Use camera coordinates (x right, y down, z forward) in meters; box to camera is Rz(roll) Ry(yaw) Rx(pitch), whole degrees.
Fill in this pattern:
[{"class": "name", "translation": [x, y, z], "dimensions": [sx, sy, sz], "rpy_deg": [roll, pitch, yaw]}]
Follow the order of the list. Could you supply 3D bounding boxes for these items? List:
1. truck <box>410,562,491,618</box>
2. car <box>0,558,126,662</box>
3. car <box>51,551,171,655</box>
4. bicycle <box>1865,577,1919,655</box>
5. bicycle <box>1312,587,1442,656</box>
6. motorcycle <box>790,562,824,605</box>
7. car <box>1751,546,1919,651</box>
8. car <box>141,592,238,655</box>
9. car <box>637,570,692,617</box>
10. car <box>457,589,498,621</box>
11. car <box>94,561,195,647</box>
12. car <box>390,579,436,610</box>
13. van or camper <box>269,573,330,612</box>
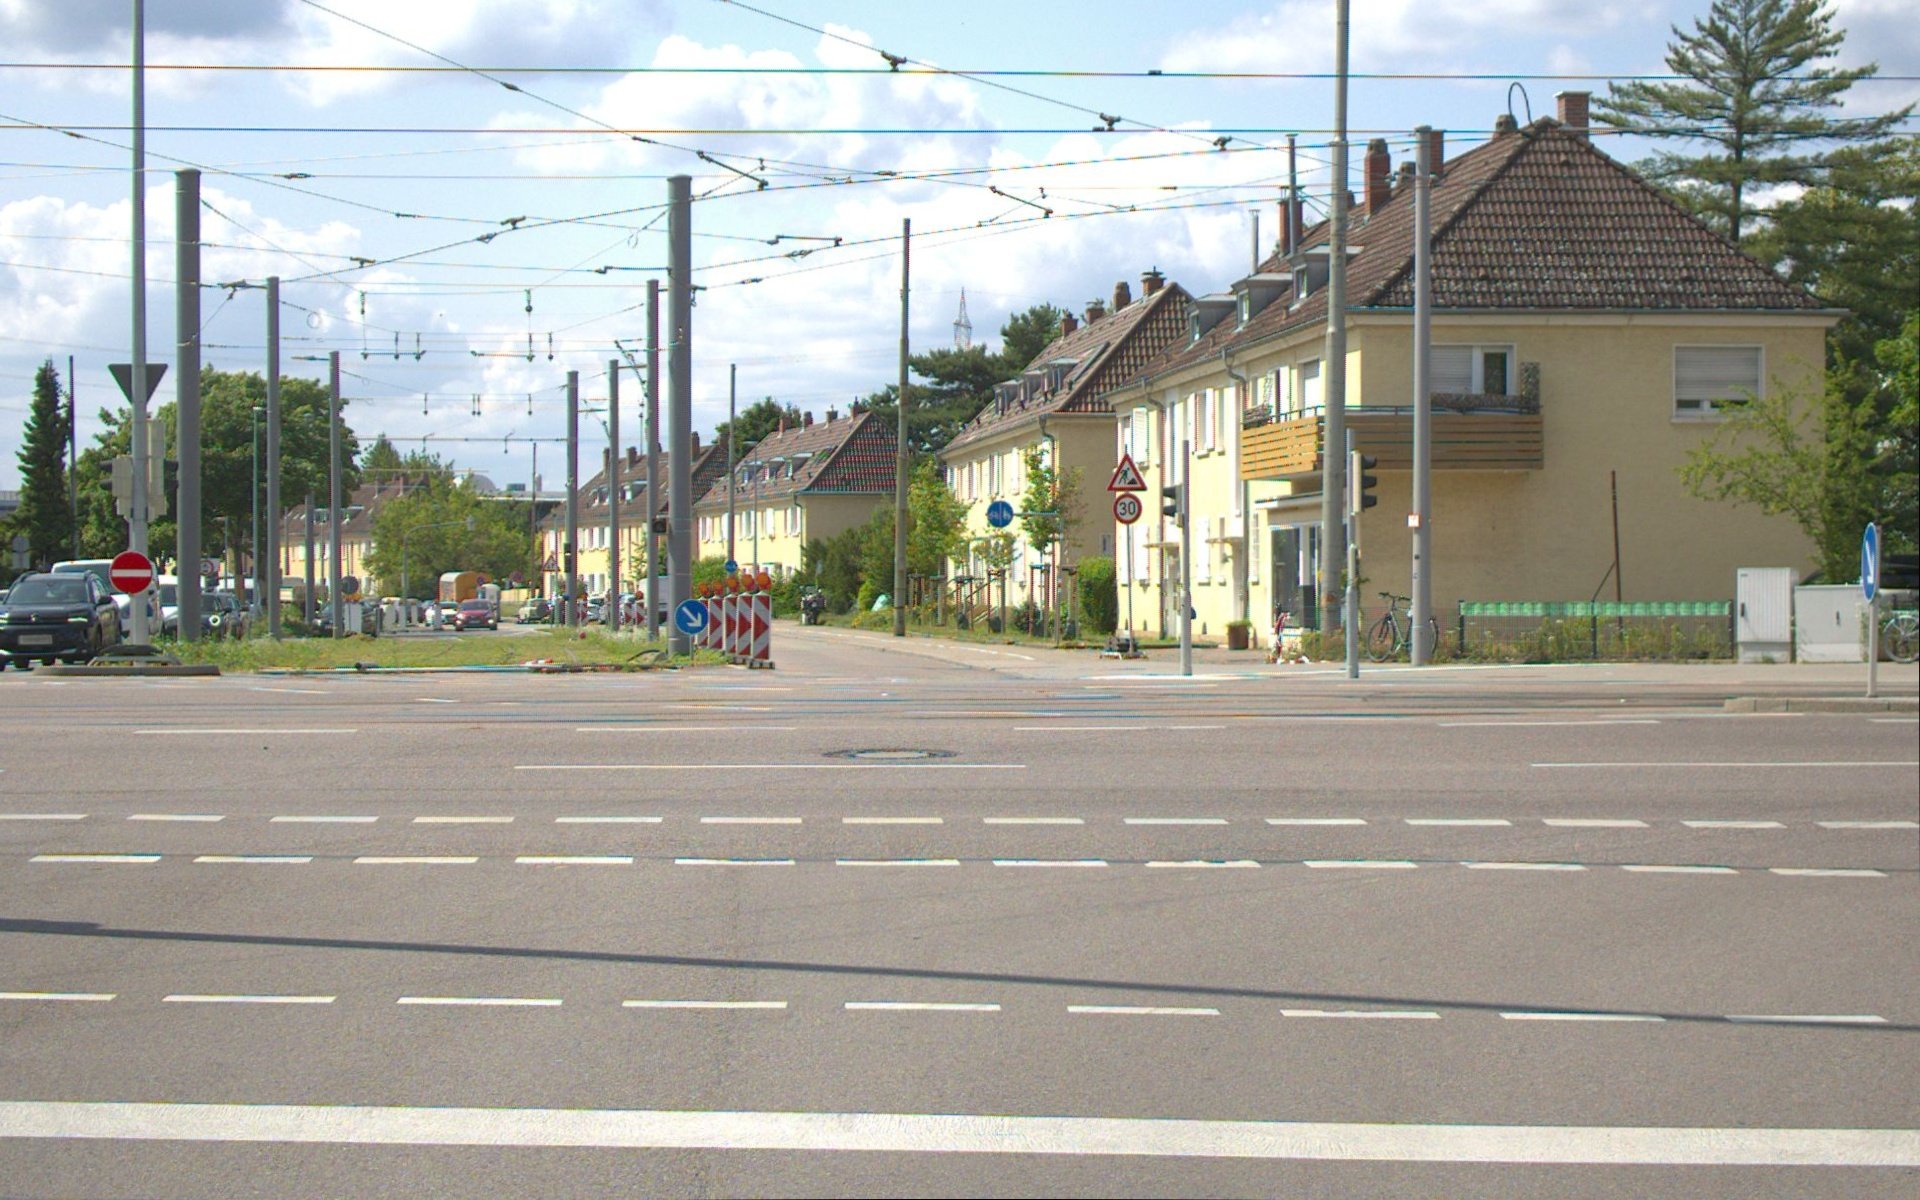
[{"class": "truck", "translation": [-32.313, -0.631, 217.545], "dimensions": [2.640, 3.482, 9.439], "rpy_deg": [0, 0, -24]}, {"class": "car", "translation": [-15.643, 0.137, 59.572], "dimensions": [1.786, 1.715, 4.442], "rpy_deg": [0, 1, -7]}, {"class": "car", "translation": [-16.253, 0.047, 65.988], "dimensions": [1.814, 1.915, 4.749], "rpy_deg": [0, 0, -9]}, {"class": "bicycle", "translation": [13.783, 0.226, 48.549], "dimensions": [1.806, 1.101, 0.701], "rpy_deg": [0, 0, 39]}, {"class": "bicycle", "translation": [6.742, 0.347, 55.711], "dimensions": [0.593, 1.093, 2.276], "rpy_deg": [0, 0, -41]}, {"class": "motorcycle", "translation": [-5.878, -0.622, 132.024], "dimensions": [1.066, 1.630, 2.084], "rpy_deg": [0, 0, -8]}, {"class": "car", "translation": [14.426, 0.007, 55.409], "dimensions": [1.821, 1.615, 4.001], "rpy_deg": [0, -1, -10]}, {"class": "car", "translation": [-18.074, 0.538, 80.808], "dimensions": [1.914, 1.414, 4.001], "rpy_deg": [0, 0, -8]}, {"class": "car", "translation": [-13.553, -0.293, 157.289], "dimensions": [2.065, 2.142, 4.879], "rpy_deg": [0, 0, -10]}, {"class": "car", "translation": [-22.759, 0.232, 162.176], "dimensions": [1.843, 1.489, 4.857], "rpy_deg": [0, 0, -7]}, {"class": "car", "translation": [-17.480, 0.074, 73.859], "dimensions": [1.732, 1.776, 4.406], "rpy_deg": [-1, 0, -9]}, {"class": "car", "translation": [-34.608, -0.355, 217.497], "dimensions": [1.993, 1.904, 4.001], "rpy_deg": [-1, 1, -22]}, {"class": "van or camper", "translation": [-47.180, -0.529, 245.445], "dimensions": [2.691, 2.693, 6.520], "rpy_deg": [-1, 1, -25]}]
